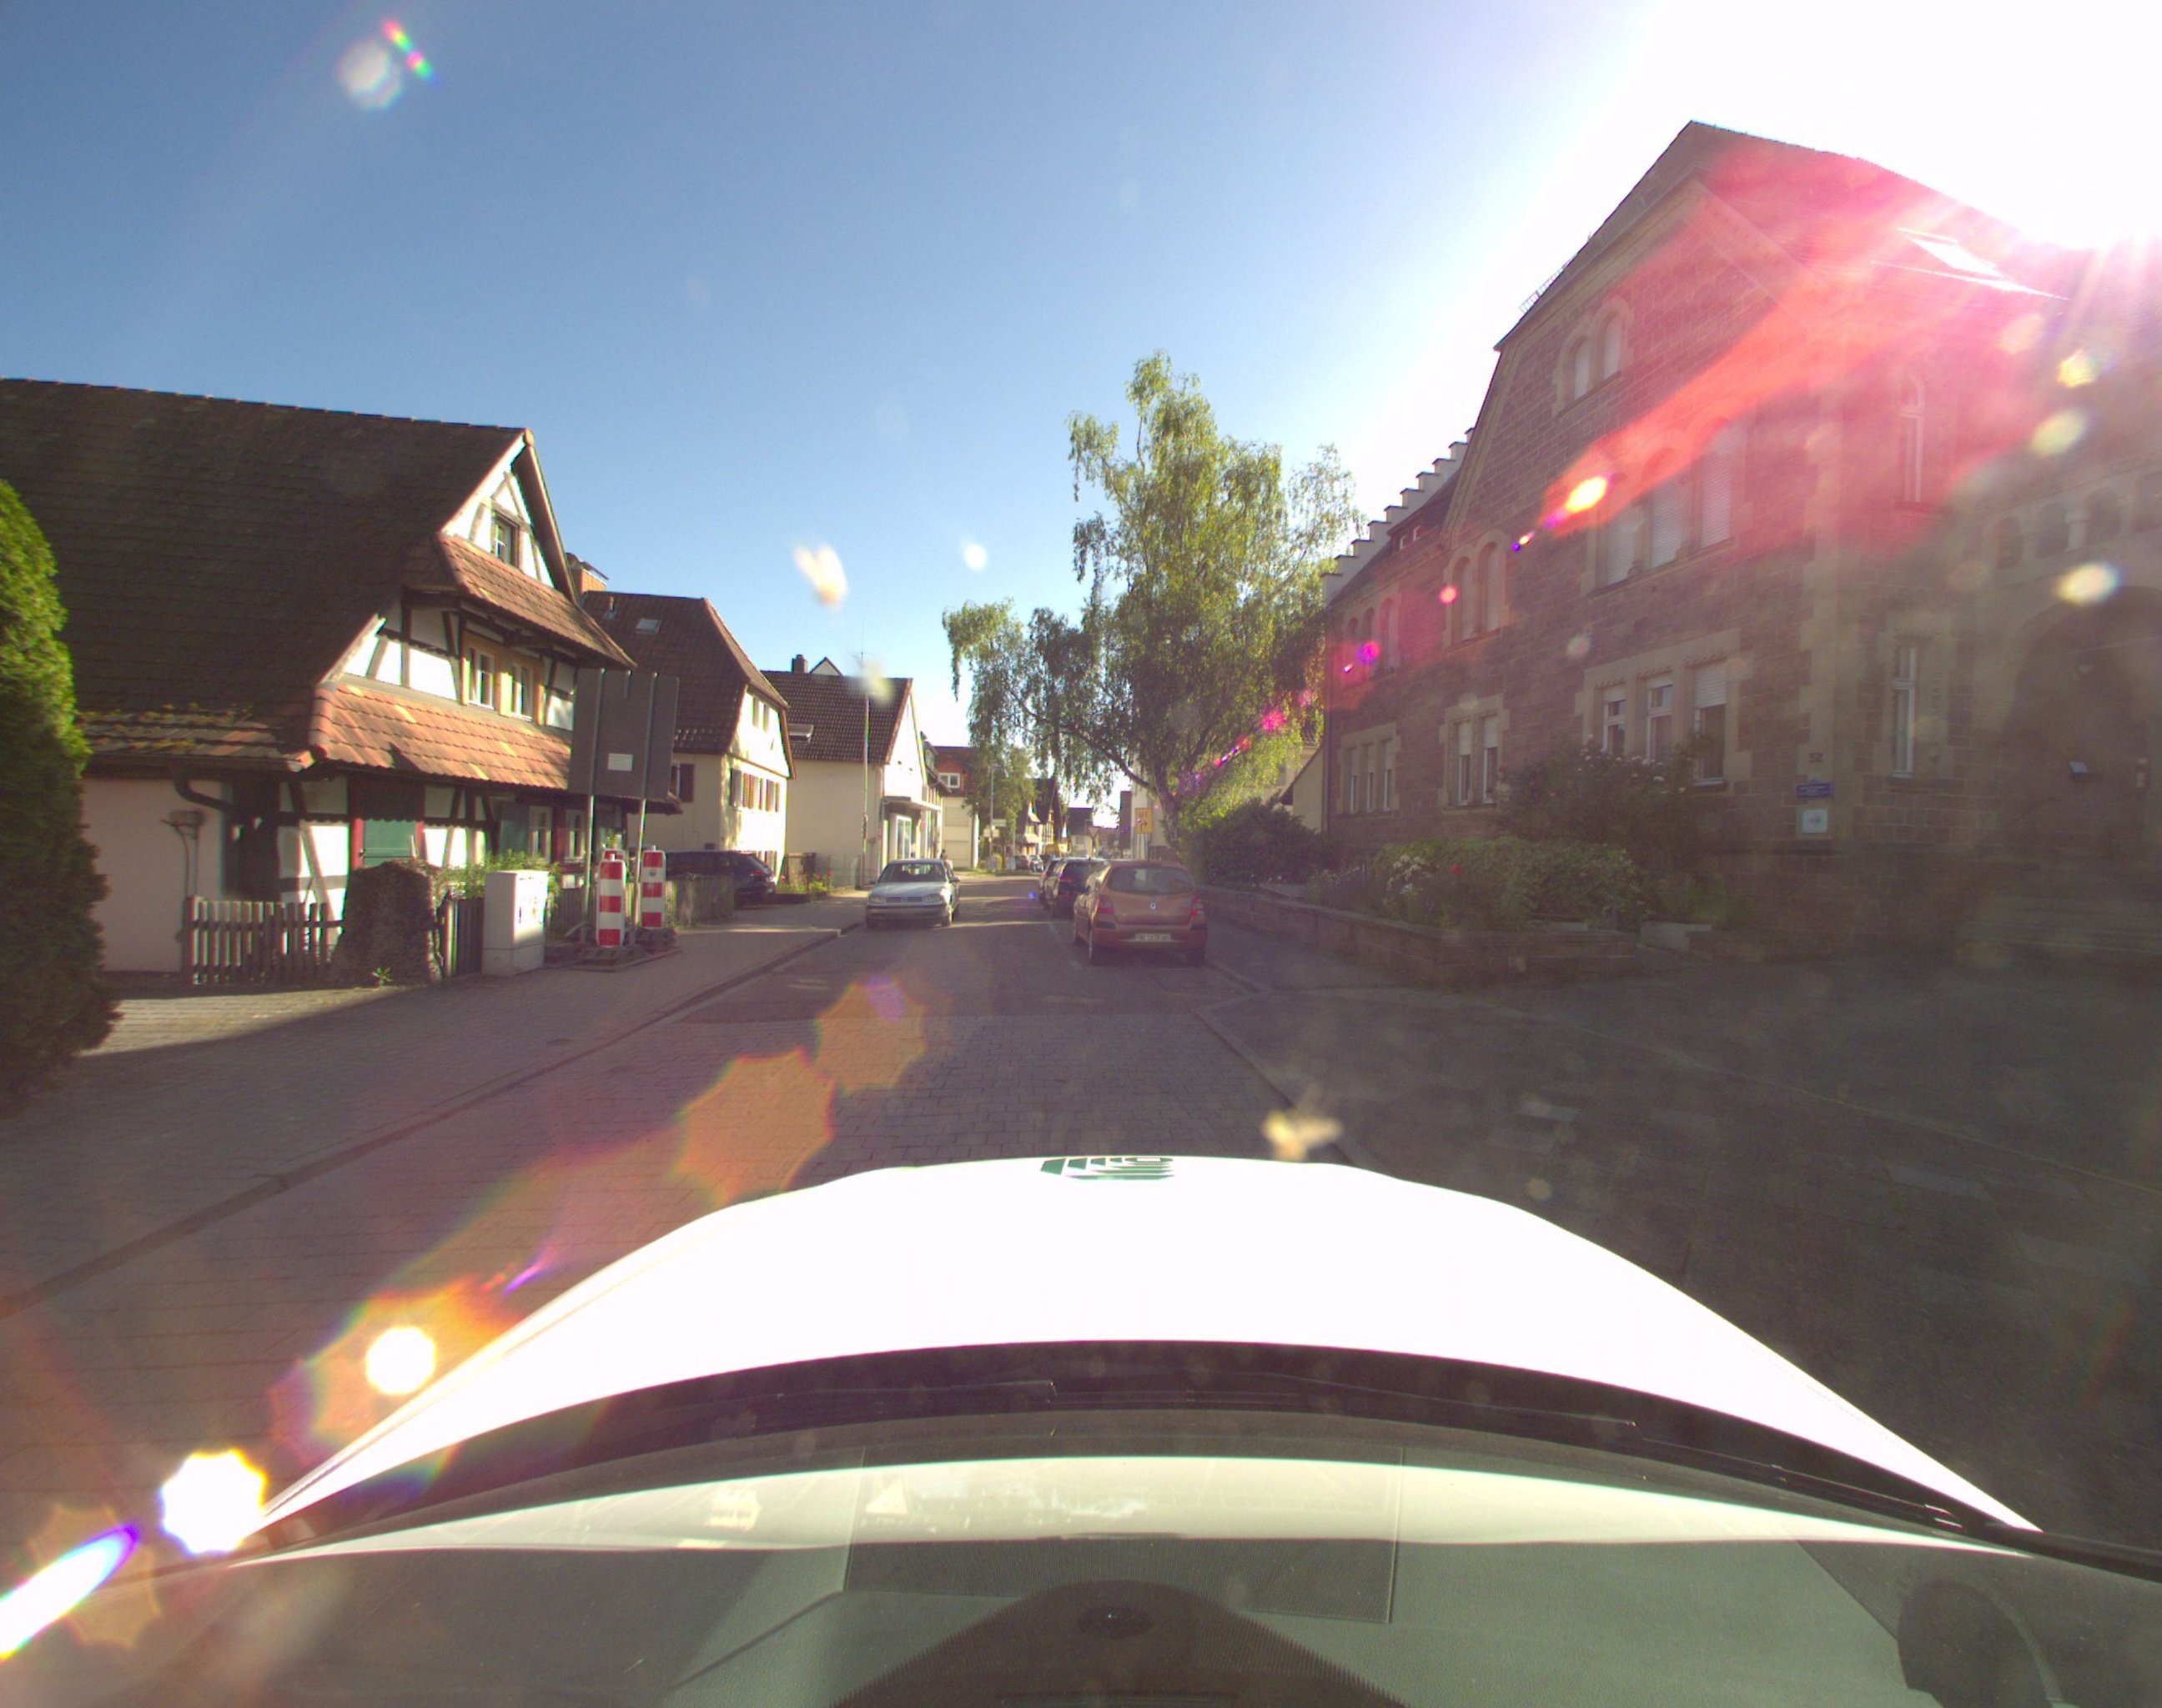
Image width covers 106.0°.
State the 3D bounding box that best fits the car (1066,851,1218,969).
[{"bbox_3d":[0.779,0.741,12.661,1.646,1.478,3.925,2,0,-6],"label":"car"}]

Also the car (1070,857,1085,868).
[{"bbox_3d":[-0.420,1.027,101.049,1.581,1.336,3.618,2,0,3],"label":"car"}]

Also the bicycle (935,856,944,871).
[{"bbox_3d":[-9.803,0.676,56.447,0.422,1.052,1.380,1,-1,-2],"label":"bicycle"}]

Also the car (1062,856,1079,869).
[{"bbox_3d":[-1.227,0.962,96.456,1.638,1.433,3.618,2,0,3],"label":"car"}]

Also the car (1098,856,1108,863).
[{"bbox_3d":[5.477,1.314,202.382,1.972,1.583,3.984,2,0,-8],"label":"car"}]

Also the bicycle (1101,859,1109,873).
[{"bbox_3d":[2.061,0.991,70.096,0.430,1.176,1.834,1,0,10],"label":"bicycle"}]

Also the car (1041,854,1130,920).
[{"bbox_3d":[0.000,0.781,21.069,1.805,1.436,4.276,2,0,-6],"label":"car"}]

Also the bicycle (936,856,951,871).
[{"bbox_3d":[-10.094,0.711,59.848,0.575,1.052,2.038,1,-1,5],"label":"bicycle"}]

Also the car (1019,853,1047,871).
[{"bbox_3d":[-4.304,0.709,73.061,1.797,1.506,4.114,1,-1,6],"label":"car"}]

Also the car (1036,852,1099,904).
[{"bbox_3d":[-0.462,0.695,25.770,1.803,1.436,4.282,2,0,-2],"label":"car"}]

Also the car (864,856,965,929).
[{"bbox_3d":[-3.563,0.764,18.007,1.667,1.402,3.886,0,0,-4],"label":"car"}]

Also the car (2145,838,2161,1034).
[{"bbox_3d":[10.343,0.544,5.768,3.901,1.496,1.897,-2,-1,-12],"label":"car"}]

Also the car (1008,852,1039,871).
[{"bbox_3d":[-4.775,0.676,68.686,1.858,1.506,4.114,1,-1,6],"label":"car"}]

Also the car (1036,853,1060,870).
[{"bbox_3d":[-3.325,0.768,81.957,1.797,1.622,3.887,1,-1,6],"label":"car"}]

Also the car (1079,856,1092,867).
[{"bbox_3d":[0.602,1.016,109.656,1.581,1.443,3.618,2,0,3],"label":"car"}]

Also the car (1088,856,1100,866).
[{"bbox_3d":[1.914,1.053,121.532,1.581,1.443,3.618,2,0,3],"label":"car"}]

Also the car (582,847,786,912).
[{"bbox_3d":[-9.681,0.584,20.184,4.157,1.462,1.843,-1,1,-9],"label":"car"}]

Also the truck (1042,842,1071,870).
[{"bbox_3d":[-2.624,0.242,87.535,2.256,2.868,5.792,1,-1,6],"label":"truck"}]

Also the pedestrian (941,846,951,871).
[{"bbox_3d":[-9.382,0.339,56.635,0.481,1.693,0.557,2,-2,1],"label":"pedestrian"}]
